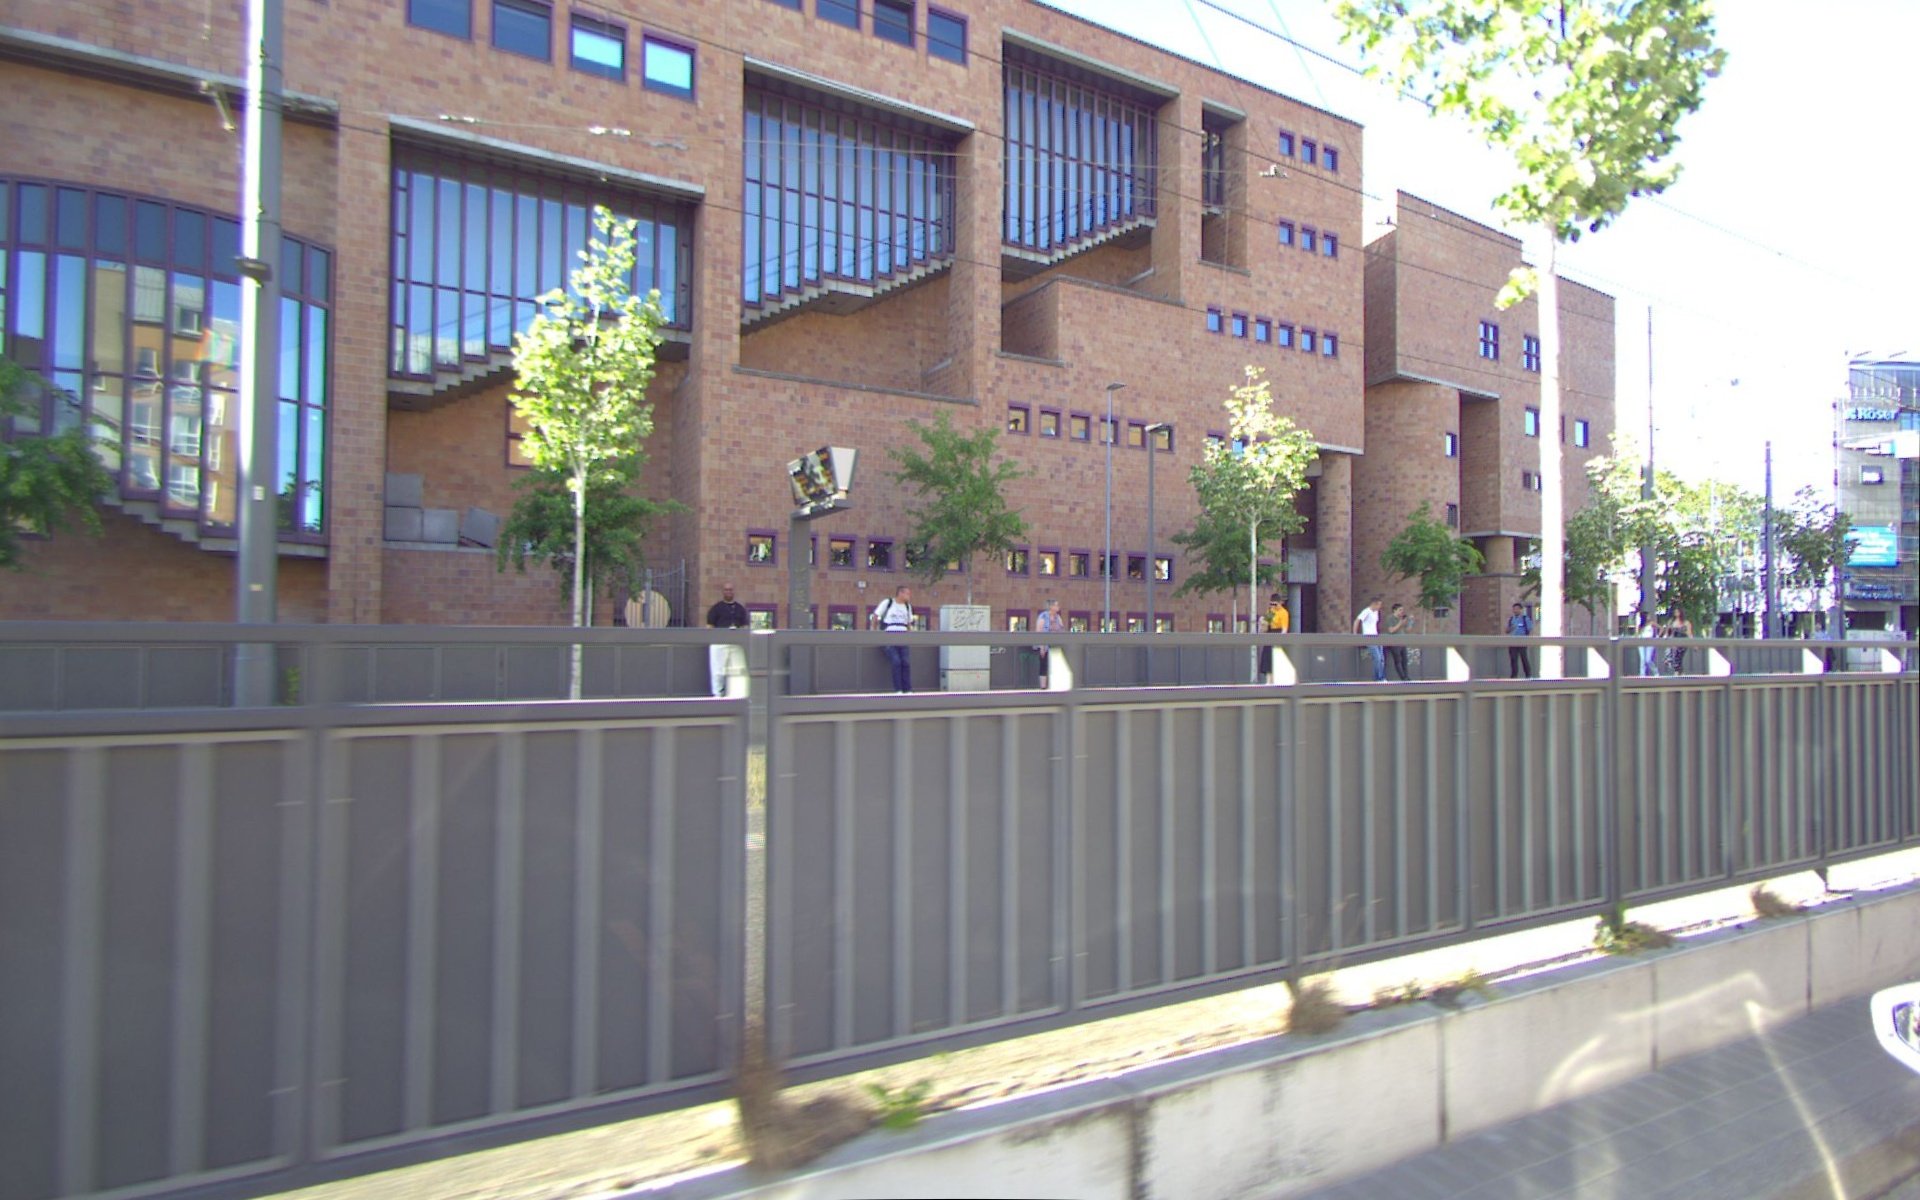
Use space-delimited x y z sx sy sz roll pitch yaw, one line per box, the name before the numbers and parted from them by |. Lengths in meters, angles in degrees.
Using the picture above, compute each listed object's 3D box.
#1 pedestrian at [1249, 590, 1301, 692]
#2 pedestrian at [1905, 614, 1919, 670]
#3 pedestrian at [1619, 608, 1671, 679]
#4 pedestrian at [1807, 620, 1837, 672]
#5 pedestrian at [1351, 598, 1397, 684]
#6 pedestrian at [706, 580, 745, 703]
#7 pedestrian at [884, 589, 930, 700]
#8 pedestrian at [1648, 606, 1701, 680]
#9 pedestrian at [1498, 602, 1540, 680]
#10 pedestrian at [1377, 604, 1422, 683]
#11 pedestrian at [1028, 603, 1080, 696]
pedestrian | 5.456 0.697 17.408 0.534 1.718 0.637 1 0 -28
pedestrian | 32.339 1.417 33.738 0.886 1.841 0.611 1 -1 -29
pedestrian | 16.236 1.025 23.822 0.934 1.629 0.637 1 0 -29
pedestrian | 27.543 1.465 32.097 0.608 1.630 0.561 1 -1 -28
pedestrian | 8.510 0.839 20.671 0.608 1.737 0.620 1 -1 -28
pedestrian | -3.261 0.565 13.952 0.411 1.670 0.376 1 0 -28
pedestrian | -0.802 0.669 15.191 0.546 1.643 0.376 1 0 -29
pedestrian | 16.550 0.991 23.266 0.934 1.665 0.637 1 0 -29
pedestrian | 12.841 0.938 23.077 0.608 1.761 0.579 1 -1 -28
pedestrian | 9.218 0.901 21.072 0.608 1.633 0.620 1 -1 -28
pedestrian | 1.534 0.805 16.466 0.634 1.479 0.537 1 0 -29
